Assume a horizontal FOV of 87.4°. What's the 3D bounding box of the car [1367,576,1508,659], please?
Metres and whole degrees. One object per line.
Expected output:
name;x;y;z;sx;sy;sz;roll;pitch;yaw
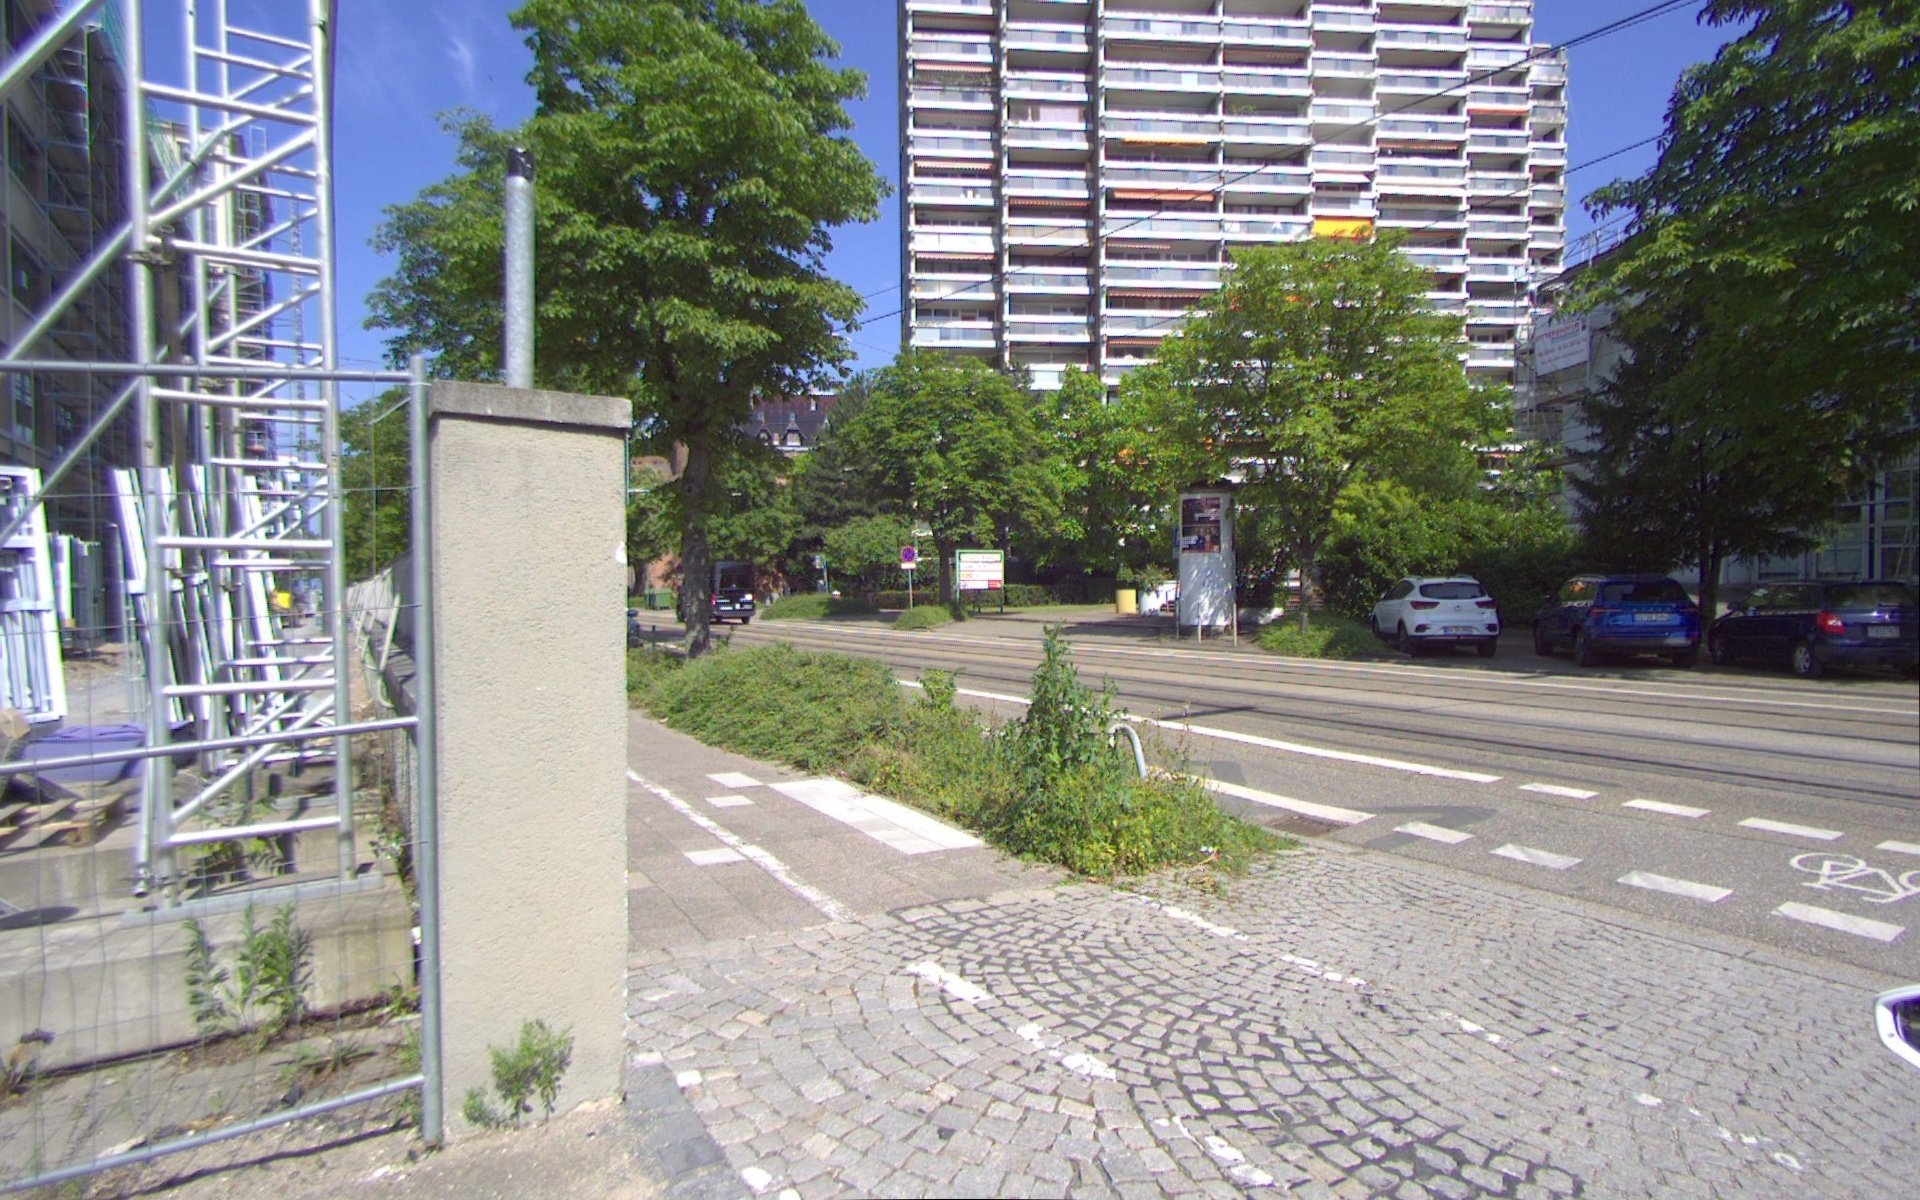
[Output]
car;10.141;0.312;21.651;1.783;1.628;3.947;0;1;10

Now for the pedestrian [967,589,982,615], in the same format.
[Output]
pedestrian;0.649;0.087;44.635;0.525;1.170;0.700;-1;1;-10

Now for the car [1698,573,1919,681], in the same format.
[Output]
car;13.684;0.369;16.239;1.544;1.551;3.460;0;1;12

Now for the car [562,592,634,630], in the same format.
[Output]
car;-15.328;0.421;42.410;1.872;1.427;4.552;-2;2;-33

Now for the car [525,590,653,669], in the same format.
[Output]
car;-8.118;0.562;21.776;1.801;1.514;4.071;-1;1;-32

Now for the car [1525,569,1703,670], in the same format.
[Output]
car;12.084;0.283;18.843;1.745;1.644;3.945;-1;2;17

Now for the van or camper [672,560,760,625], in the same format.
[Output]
van or camper;-10.735;-0.347;43.839;2.028;2.655;5.810;-1;1;-32

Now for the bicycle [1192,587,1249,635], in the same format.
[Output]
bicycle;7.520;0.300;29.017;0.542;1.326;1.604;-1;1;-37

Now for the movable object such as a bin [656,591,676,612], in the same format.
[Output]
movable object such as a bin;-20.807;0.082;71.072;1.249;1.473;1.072;0;1;-27

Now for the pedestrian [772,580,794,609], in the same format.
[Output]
pedestrian;-11.517;-0.373;65.299;1.048;1.822;1.254;1;1;-31

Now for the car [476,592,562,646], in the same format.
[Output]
car;-13.228;0.514;30.037;1.801;1.473;3.965;-1;1;-32
